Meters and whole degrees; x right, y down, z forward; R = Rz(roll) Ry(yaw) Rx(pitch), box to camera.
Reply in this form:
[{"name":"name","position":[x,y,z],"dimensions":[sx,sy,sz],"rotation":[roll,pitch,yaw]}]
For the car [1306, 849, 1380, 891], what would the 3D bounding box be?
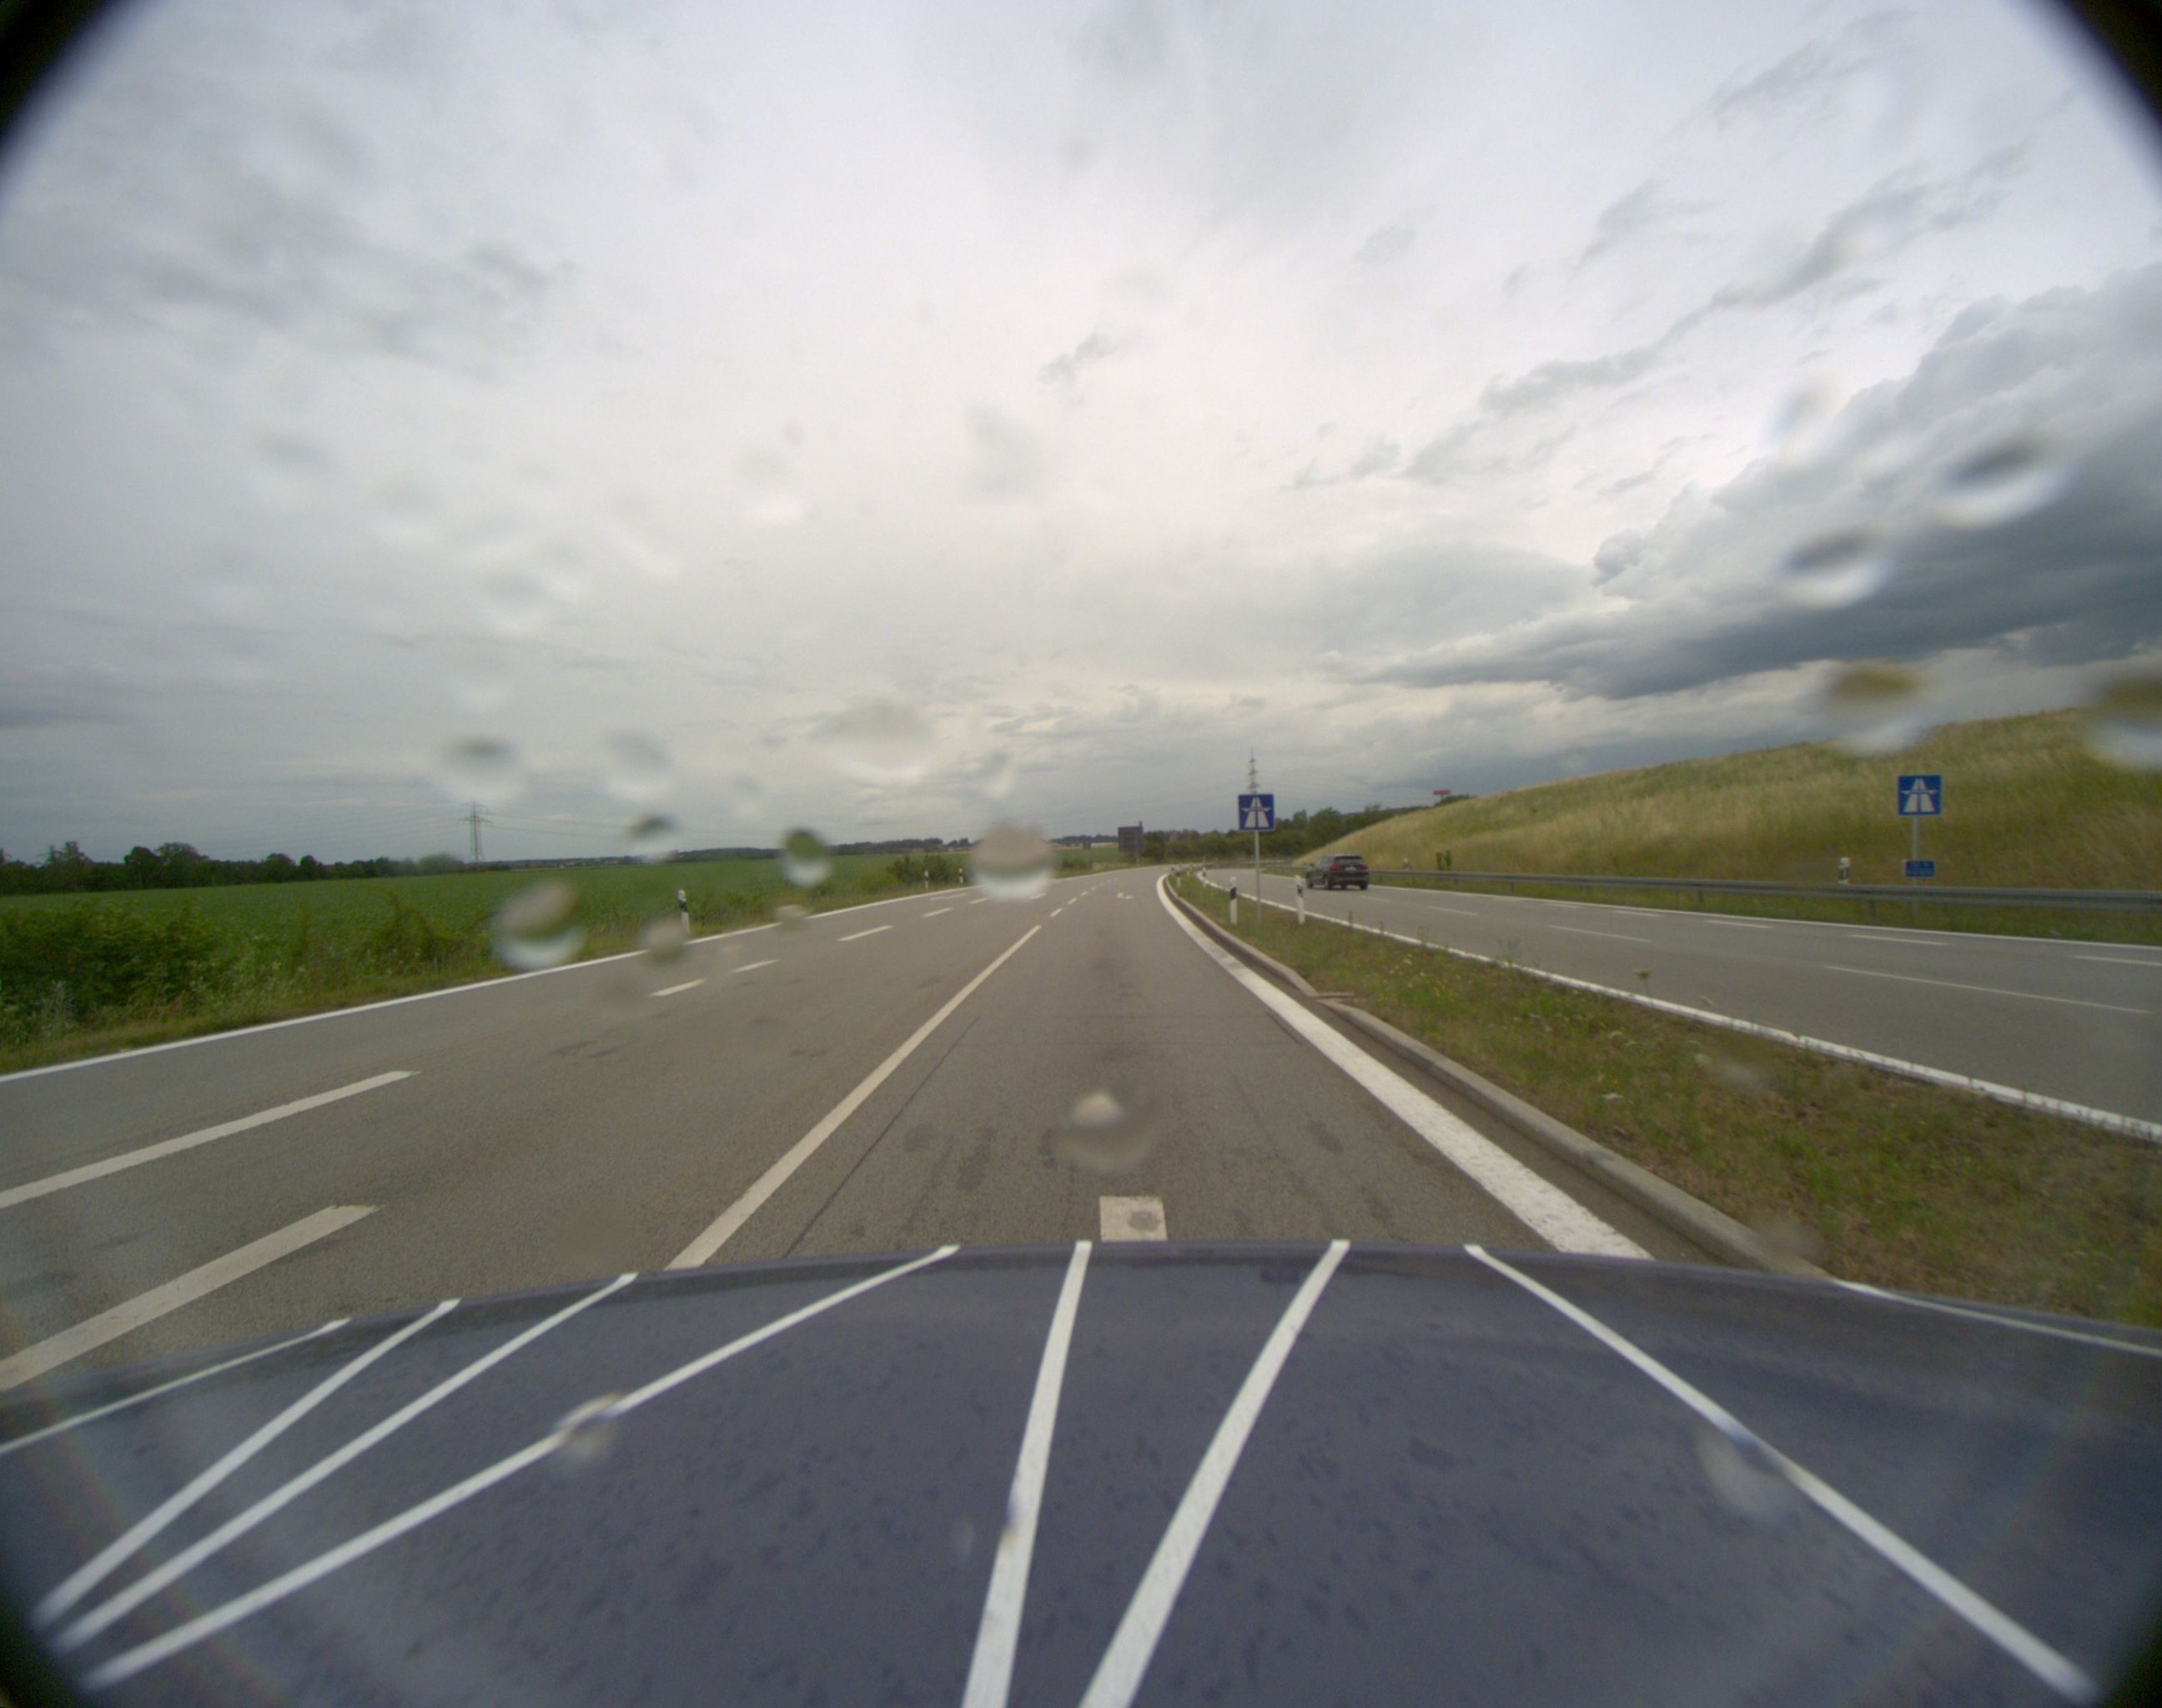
[{"name":"car","position":[11.655,0.657,34.064],"dimensions":[1.998,1.674,4.114],"rotation":[-2,1,2]}]
